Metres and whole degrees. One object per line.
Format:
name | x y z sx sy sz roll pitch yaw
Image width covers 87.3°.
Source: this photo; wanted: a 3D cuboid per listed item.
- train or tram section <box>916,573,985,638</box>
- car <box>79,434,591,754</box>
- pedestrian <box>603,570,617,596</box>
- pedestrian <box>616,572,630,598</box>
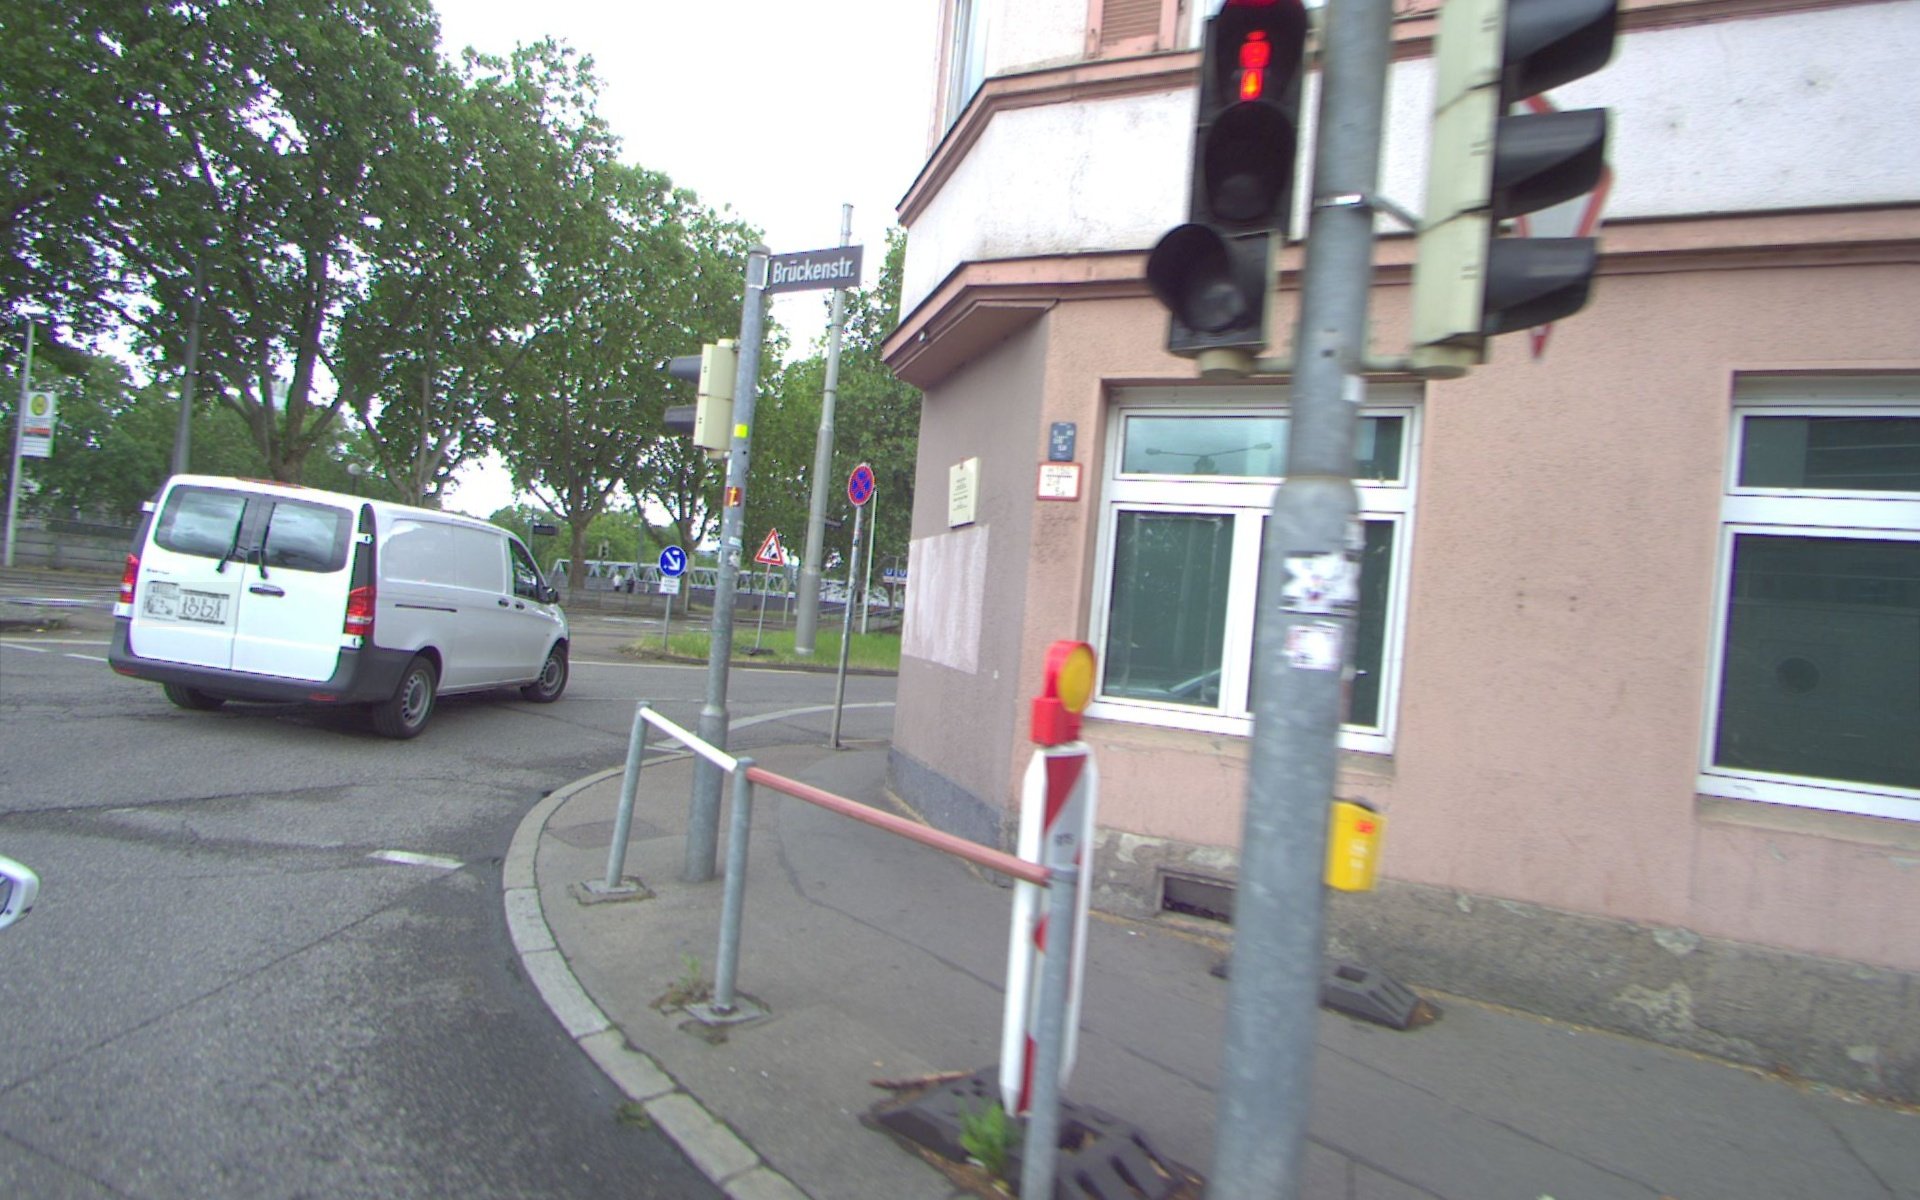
train or tram section | -0.493 0.477 65.464 2.538 3.489 7.769 5 -3 12
car | -5.297 0.048 9.520 1.922 2.036 4.699 7 -2 -4
pedestrian | -20.926 -1.005 60.116 0.464 1.468 0.512 5 -2 10
pedestrian | -20.084 -0.868 59.963 0.464 1.468 0.512 5 -2 10
